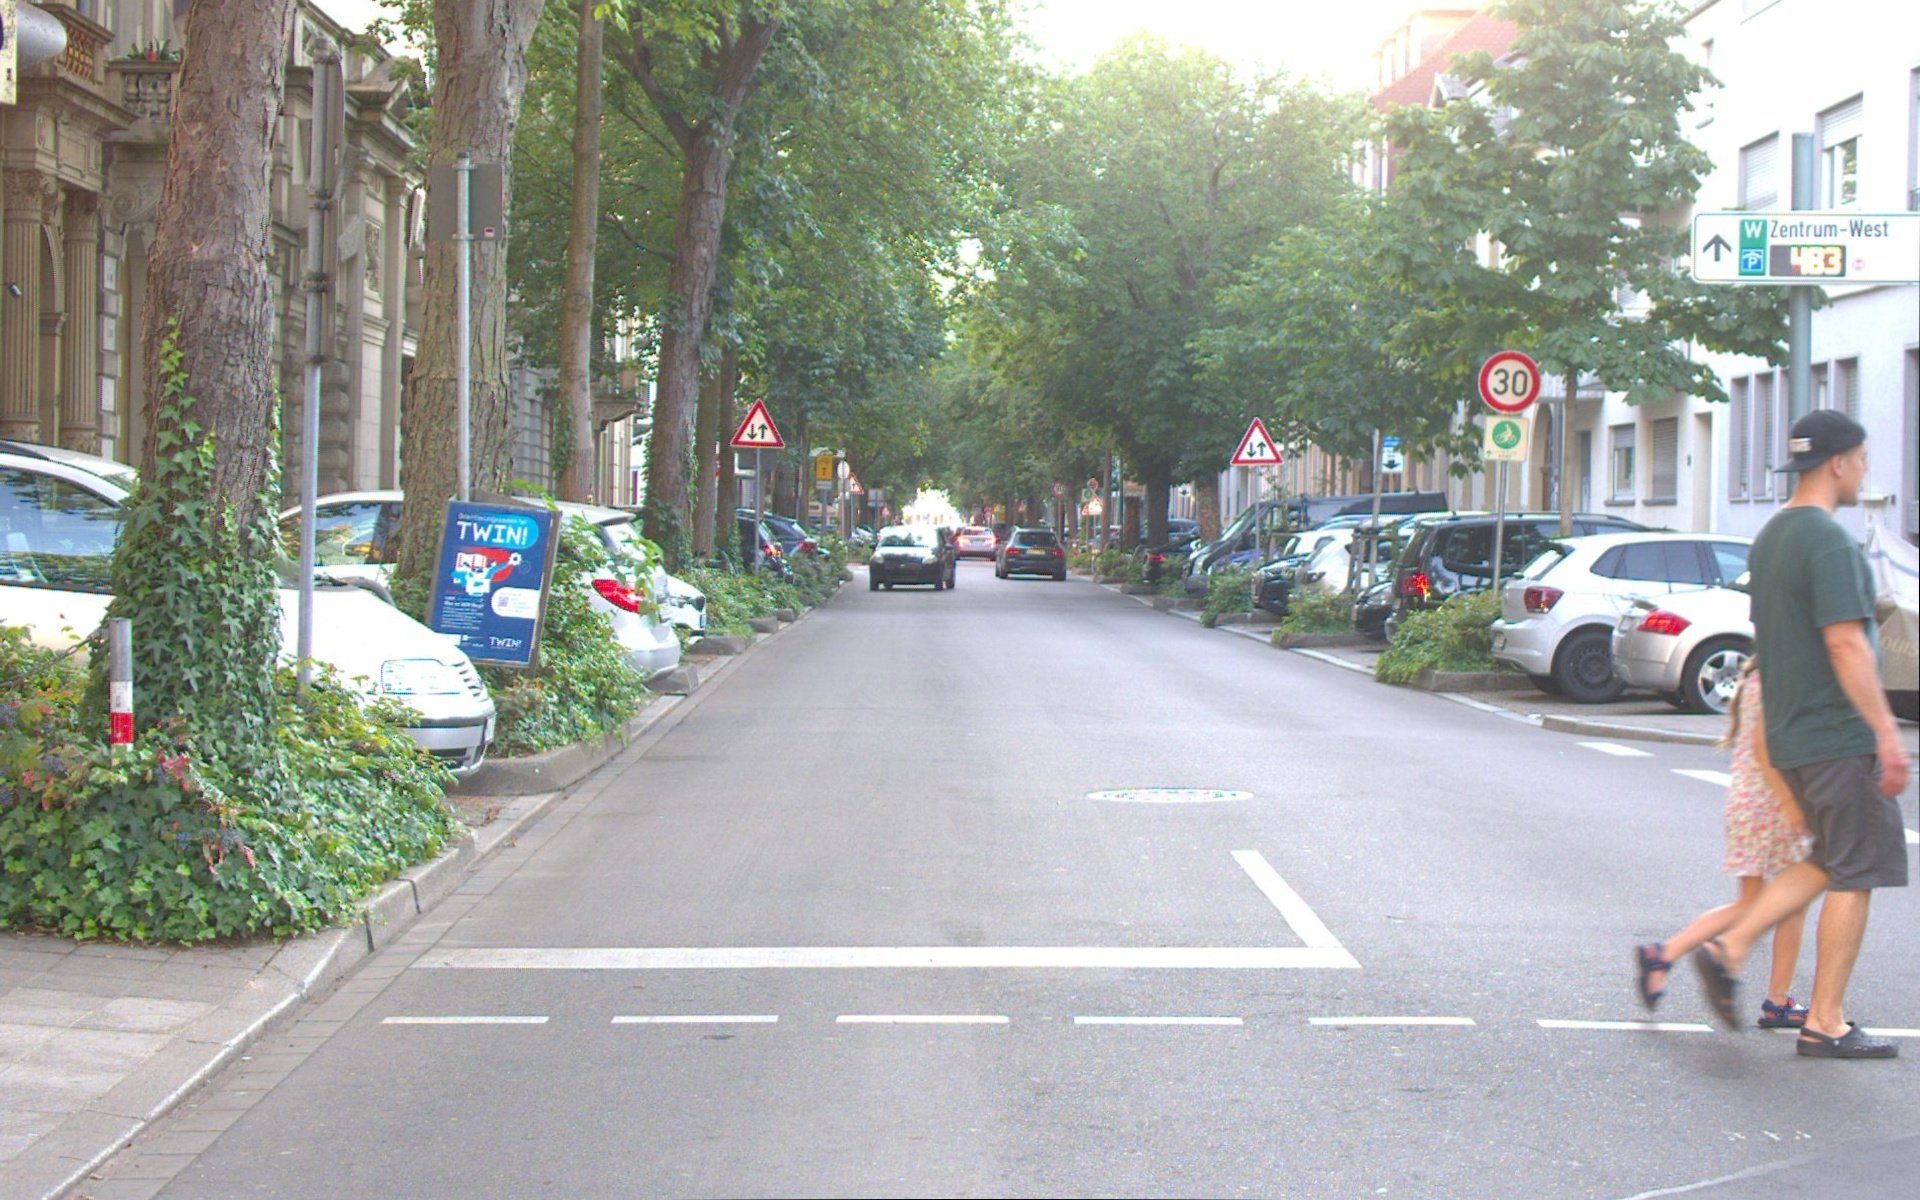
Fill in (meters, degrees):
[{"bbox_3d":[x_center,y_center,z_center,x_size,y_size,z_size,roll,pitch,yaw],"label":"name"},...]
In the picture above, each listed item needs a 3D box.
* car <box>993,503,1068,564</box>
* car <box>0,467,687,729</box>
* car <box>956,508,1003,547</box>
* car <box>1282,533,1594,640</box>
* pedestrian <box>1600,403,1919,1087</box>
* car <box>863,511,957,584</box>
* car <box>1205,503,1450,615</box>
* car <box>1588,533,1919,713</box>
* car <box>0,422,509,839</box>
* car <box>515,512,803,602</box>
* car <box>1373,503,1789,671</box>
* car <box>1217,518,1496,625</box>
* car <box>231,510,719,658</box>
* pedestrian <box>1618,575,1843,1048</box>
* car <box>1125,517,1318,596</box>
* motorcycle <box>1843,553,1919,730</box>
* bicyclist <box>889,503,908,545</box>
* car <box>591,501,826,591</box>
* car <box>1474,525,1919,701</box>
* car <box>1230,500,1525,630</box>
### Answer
[{"bbox_3d":[1.905,-1.831,93.791,1.825,1.556,4.028,2,1,-1],"label":"car"},{"bbox_3d":[-4.234,-0.039,23.632,4.548,1.683,1.833,1,1,0],"label":"car"},{"bbox_3d":[0.834,-3.123,147.708,1.924,1.654,4.000,1,1,-1],"label":"car"},{"bbox_3d":[6.512,-0.194,47.112,4.014,1.404,1.707,0,1,0],"label":"car"},{"bbox_3d":[2.299,0.377,9.575,0.888,1.809,0.794,1,2,4],"label":"pedestrian"},{"bbox_3d":[-1.129,-1.219,79.062,1.904,1.572,3.991,2,1,2],"label":"car"},{"bbox_3d":[6.335,-0.725,59.607,4.014,1.824,1.707,1,1,0],"label":"car"},{"bbox_3d":[7.077,0.166,26.850,4.014,1.338,1.707,0,1,0],"label":"car"},{"bbox_3d":[-4.473,0.103,16.083,4.547,1.828,1.833,1,1,-3],"label":"car"},{"bbox_3d":[-4.909,-0.715,56.433,4.548,1.405,1.833,1,1,0],"label":"car"},{"bbox_3d":[6.434,-0.154,35.893,4.014,1.684,1.707,0,1,0],"label":"car"},{"bbox_3d":[5.997,-0.446,52.301,4.014,1.524,1.707,1,1,0],"label":"car"},{"bbox_3d":[-4.724,-0.177,33.923,4.548,1.367,1.833,1,1,0],"label":"car"},{"bbox_3d":[2.252,0.604,10.098,0.539,1.331,0.506,2,2,5],"label":"pedestrian"},{"bbox_3d":[5.653,-0.952,74.599,4.014,1.596,1.707,1,1,0],"label":"car"},{"bbox_3d":[7.028,0.289,23.621,1.800,1.195,0.613,1,1,9],"label":"motorcycle"},{"bbox_3d":[-2.214,-2.725,123.452,0.571,1.465,0.643,1,0,-6],"label":"bicyclist"},{"bbox_3d":[-5.000,-1.096,68.776,4.548,1.686,1.833,1,1,0],"label":"car"},{"bbox_3d":[6.550,0.095,29.469,4.014,1.437,1.707,0,1,0],"label":"car"},{"bbox_3d":[5.969,-0.509,49.468,4.014,1.809,1.707,0,1,0],"label":"car"}]
